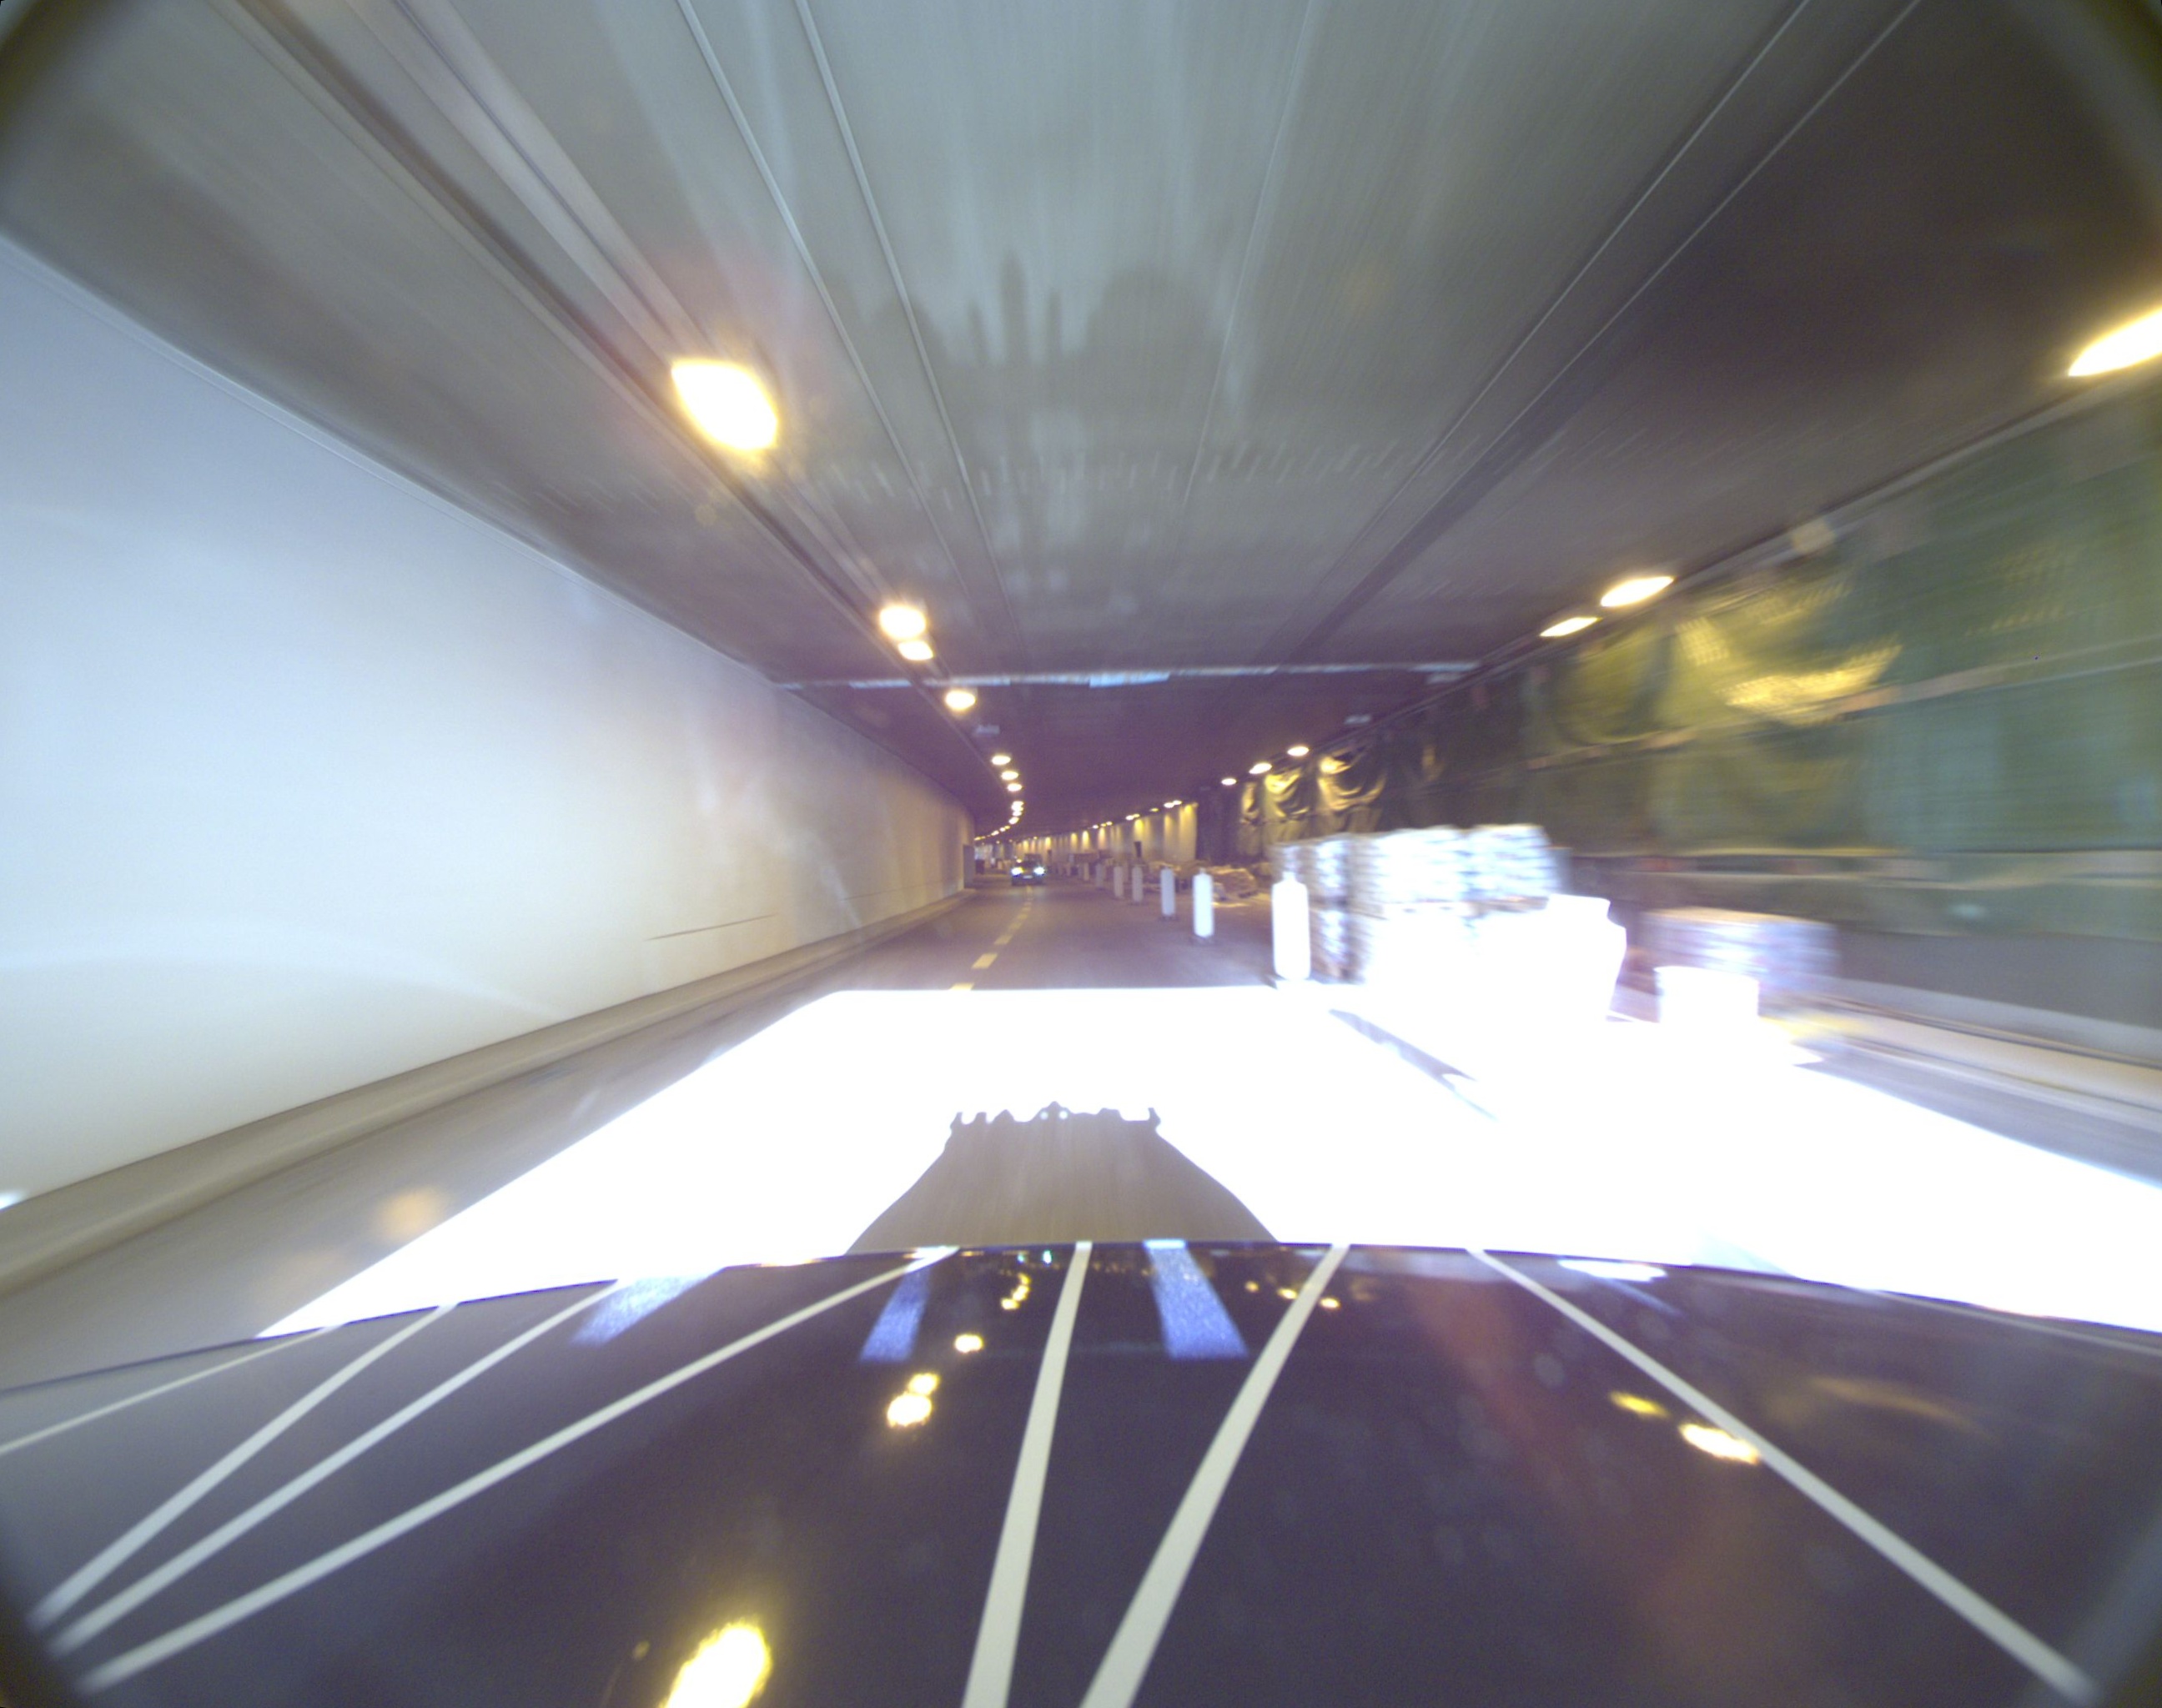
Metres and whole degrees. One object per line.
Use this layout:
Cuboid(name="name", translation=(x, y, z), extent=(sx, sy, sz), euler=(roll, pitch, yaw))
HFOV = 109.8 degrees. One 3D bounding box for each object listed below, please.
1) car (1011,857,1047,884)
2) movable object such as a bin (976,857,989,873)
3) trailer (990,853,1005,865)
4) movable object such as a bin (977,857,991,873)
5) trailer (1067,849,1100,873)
Cuboid(name="car", translation=(-3.273, 0.983, 47.135), extent=(1.897, 1.536, 4.237), euler=(-2, 0, -8))
Cuboid(name="movable object such as a bin", translation=(-9.259, 1.010, 71.672), extent=(1.101, 1.437, 1.320), euler=(-2, 1, -11))
Cuboid(name="trailer", translation=(-13.012, 0.746, 118.009), extent=(1.646, 1.781, 3.117), euler=(-2, 1, -20))
Cuboid(name="movable object such as a bin", translation=(-8.958, 1.021, 70.314), extent=(1.149, 1.437, 1.362), euler=(-2, 1, -11))
Cuboid(name="trailer", translation=(0.210, 0.593, 67.911), extent=(2.216, 2.002, 3.462), euler=(-2, 1, -12))
